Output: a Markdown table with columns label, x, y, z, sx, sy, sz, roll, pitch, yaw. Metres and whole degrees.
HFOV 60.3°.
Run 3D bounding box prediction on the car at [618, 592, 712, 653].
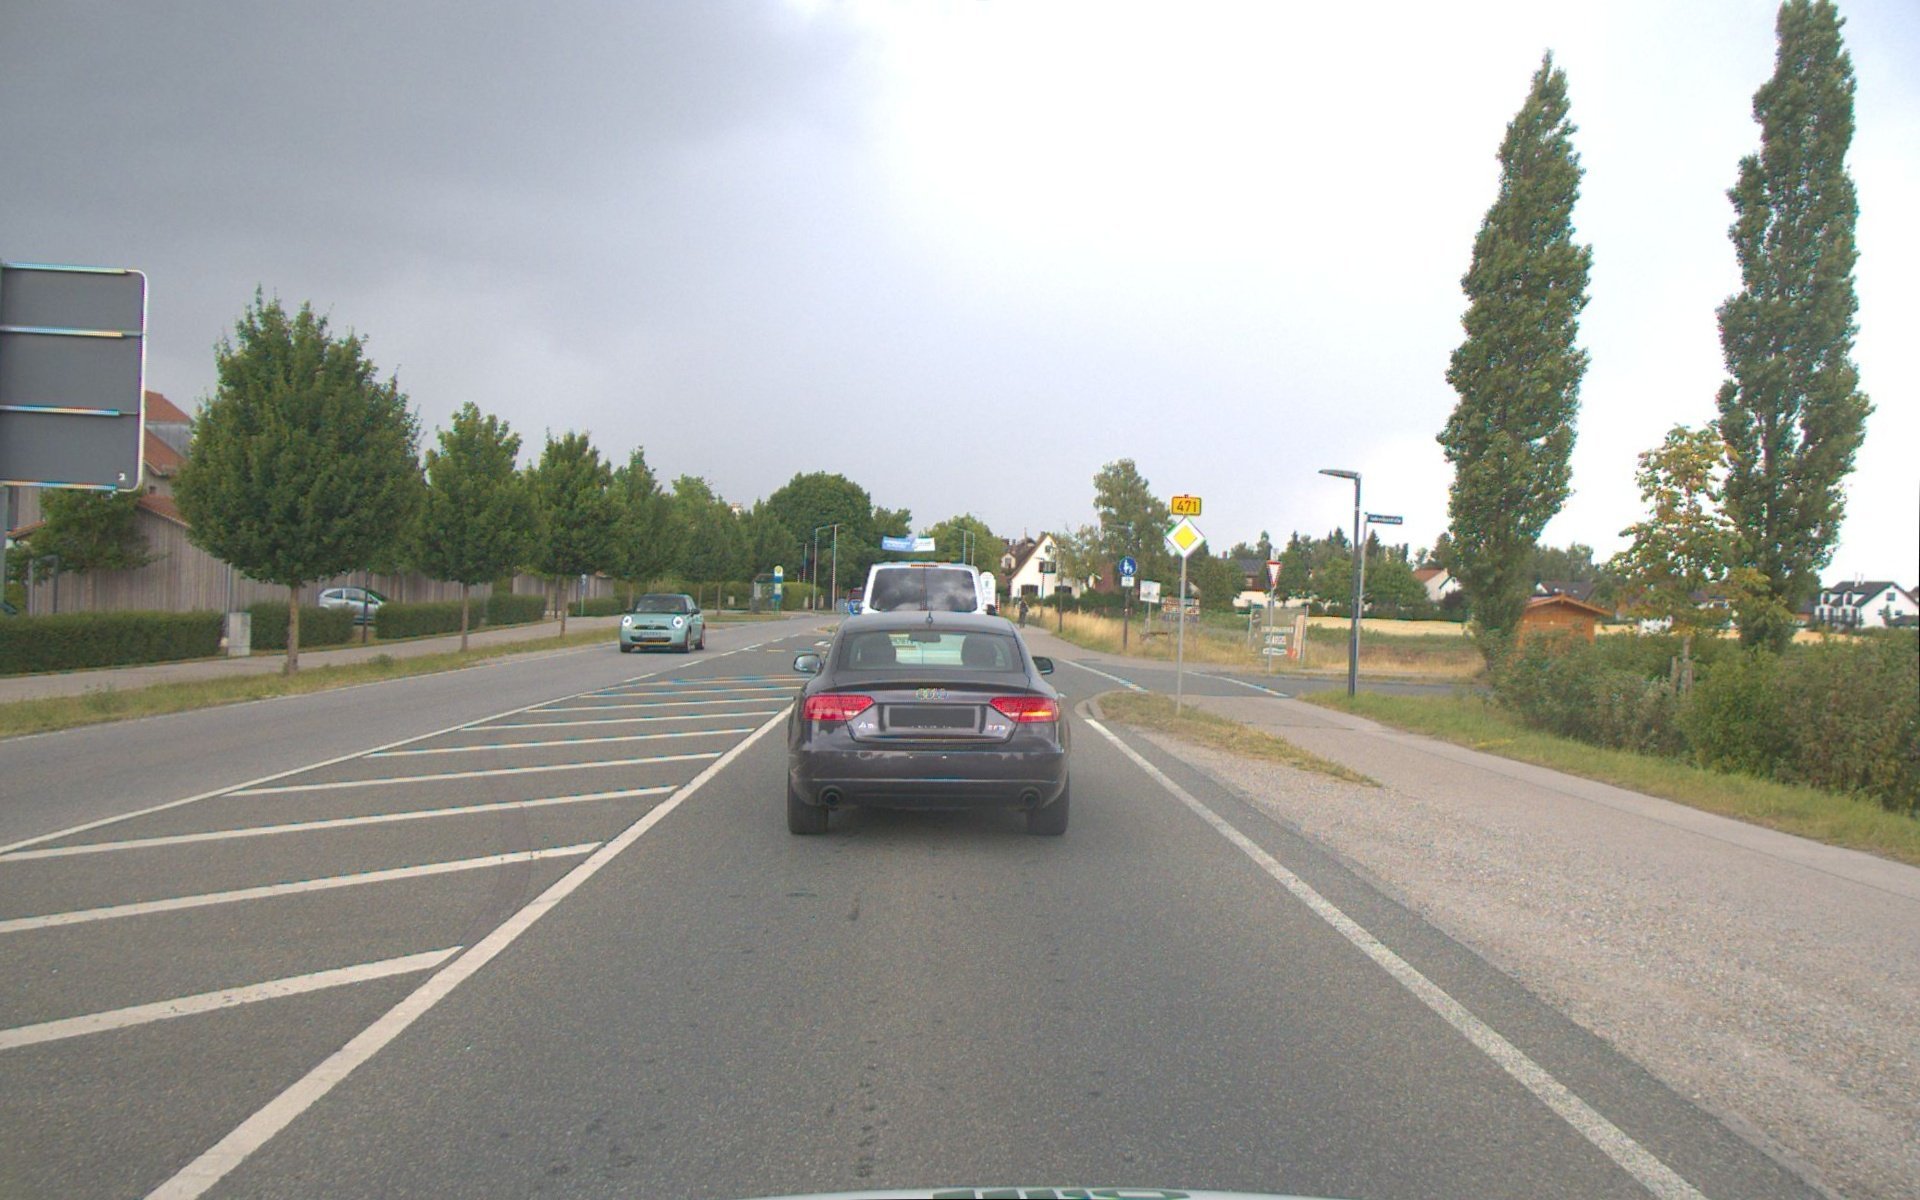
| label | x | y | z | sx | sy | sz | roll | pitch | yaw |
| --- | --- | --- | --- | --- | --- | --- | --- | --- | --- |
| car | -7.482 | 0.541 | 42.296 | 1.734 | 1.469 | 3.999 | 0 | 0 | -1 |

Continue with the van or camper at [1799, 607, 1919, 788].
| label | x | y | z | sx | sy | sz | roll | pitch | yaw |
| --- | --- | --- | --- | --- | --- | --- | --- | --- | --- |
| van or camper | 16.089 | 1.377 | 24.438 | 6.338 | 2.507 | 2.280 | 0 | 0 | -4 |

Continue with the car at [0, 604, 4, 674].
| label | x | y | z | sx | sy | sz | roll | pitch | yaw |
| --- | --- | --- | --- | --- | --- | --- | --- | --- | --- |
| car | -22.650 | 0.851 | 35.389 | 3.443 | 1.515 | 1.563 | 0 | 0 | -1 |

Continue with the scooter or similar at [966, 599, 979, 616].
| label | x | y | z | sx | sy | sz | roll | pitch | yaw |
| --- | --- | --- | --- | --- | --- | --- | --- | --- | --- |
| scooter or similar | 0.823 | 0.491 | 109.566 | 0.831 | 1.123 | 1.094 | 0 | 0 | -1 |

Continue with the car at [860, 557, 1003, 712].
| label | x | y | z | sx | sy | sz | roll | pitch | yaw |
| --- | --- | --- | --- | --- | --- | --- | --- | --- | --- |
| car | -0.461 | 0.436 | 23.656 | 1.789 | 1.947 | 3.998 | 3 | 0 | -3 |

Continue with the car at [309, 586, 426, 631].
| label | x | y | z | sx | sy | sz | roll | pitch | yaw |
| --- | --- | --- | --- | --- | --- | --- | --- | --- | --- |
| car | -23.750 | 0.333 | 66.428 | 3.905 | 1.583 | 2.000 | 3 | 0 | 0 |

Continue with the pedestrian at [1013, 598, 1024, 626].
| label | x | y | z | sx | sy | sz | roll | pitch | yaw |
| --- | --- | --- | --- | --- | --- | --- | --- | --- | --- |
| pedestrian | 3.275 | 0.647 | 92.812 | 0.611 | 1.551 | 0.679 | 0 | 0 | -2 |

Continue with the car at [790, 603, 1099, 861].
| label | x | y | z | sx | sy | sz | roll | pitch | yaw |
| --- | --- | --- | --- | --- | --- | --- | --- | --- | --- |
| car | -0.282 | 0.756 | 11.708 | 1.790 | 1.413 | 4.382 | 0 | 1 | -5 |
